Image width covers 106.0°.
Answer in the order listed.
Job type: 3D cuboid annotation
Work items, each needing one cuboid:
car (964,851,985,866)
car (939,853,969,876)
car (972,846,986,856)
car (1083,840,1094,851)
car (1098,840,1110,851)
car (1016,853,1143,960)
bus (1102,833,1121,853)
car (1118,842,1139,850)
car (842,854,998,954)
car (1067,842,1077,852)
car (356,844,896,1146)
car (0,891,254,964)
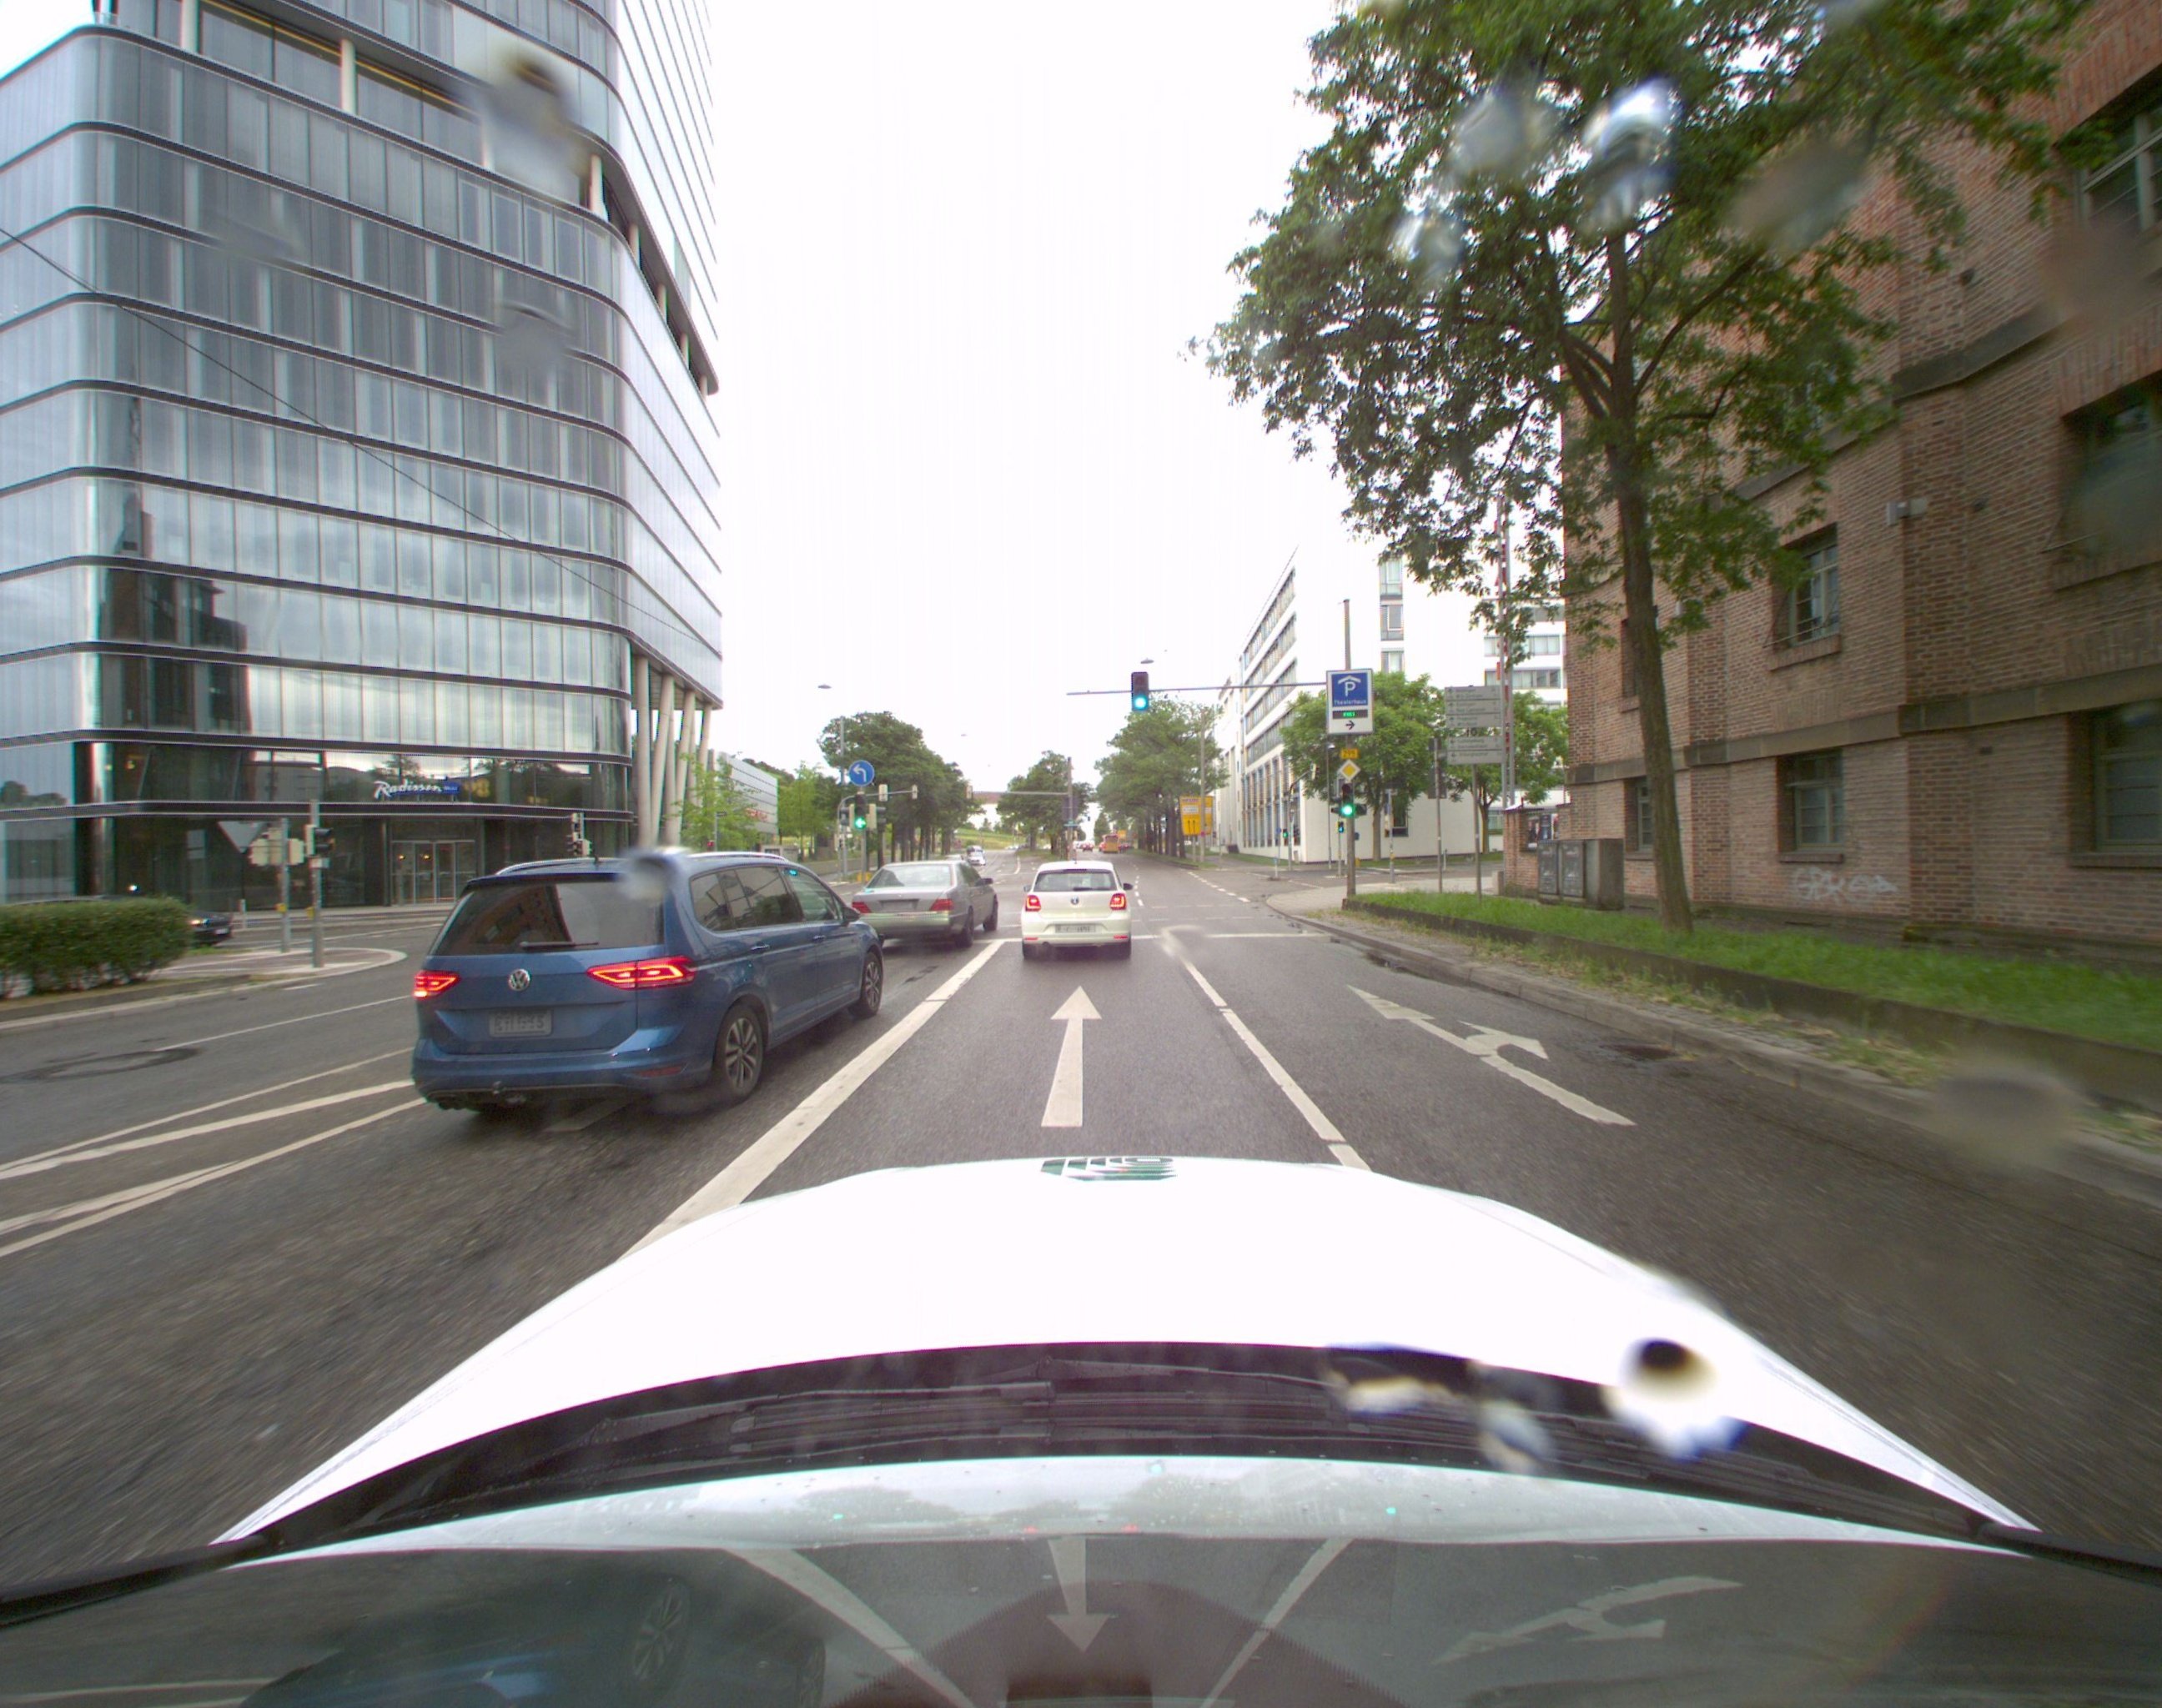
[{"bbox_3d":[-11.271,0.430,86.715,1.810,1.411,4.650,-3,1,-3],"label":"car"},{"bbox_3d":[-9.438,0.733,60.571,1.746,1.520,3.813,-2,1,-3],"label":"car"},{"bbox_3d":[-18.140,-0.588,144.976,1.990,1.615,5.113,-3,1,-4],"label":"car"},{"bbox_3d":[1.349,-1.601,152.687,1.987,2.013,3.999,-2,0,0],"label":"car"},{"bbox_3d":[4.328,-1.633,153.713,1.987,2.013,3.999,-2,0,0],"label":"car"},{"bbox_3d":[0.010,0.754,13.675,1.788,1.502,4.000,-1,0,1],"label":"car"},{"bbox_3d":[5.256,-1.901,140.167,2.819,3.266,9.998,-1,1,0],"label":"bus"},{"bbox_3d":[8.915,-1.534,152.362,1.679,1.515,3.850,-2,0,44],"label":"car"},{"bbox_3d":[-2.751,0.796,14.881,1.839,1.510,4.050,-2,0,2],"label":"car"},{"bbox_3d":[-1.735,-1.287,154.276,1.789,1.741,3.998,-2,0,-1],"label":"car"},{"bbox_3d":[-2.975,0.775,6.551,1.765,1.596,4.201,-2,0,3],"label":"car"},{"bbox_3d":[-25.772,1.937,21.986,4.373,1.510,1.845,-3,1,-20],"label":"car"}]
